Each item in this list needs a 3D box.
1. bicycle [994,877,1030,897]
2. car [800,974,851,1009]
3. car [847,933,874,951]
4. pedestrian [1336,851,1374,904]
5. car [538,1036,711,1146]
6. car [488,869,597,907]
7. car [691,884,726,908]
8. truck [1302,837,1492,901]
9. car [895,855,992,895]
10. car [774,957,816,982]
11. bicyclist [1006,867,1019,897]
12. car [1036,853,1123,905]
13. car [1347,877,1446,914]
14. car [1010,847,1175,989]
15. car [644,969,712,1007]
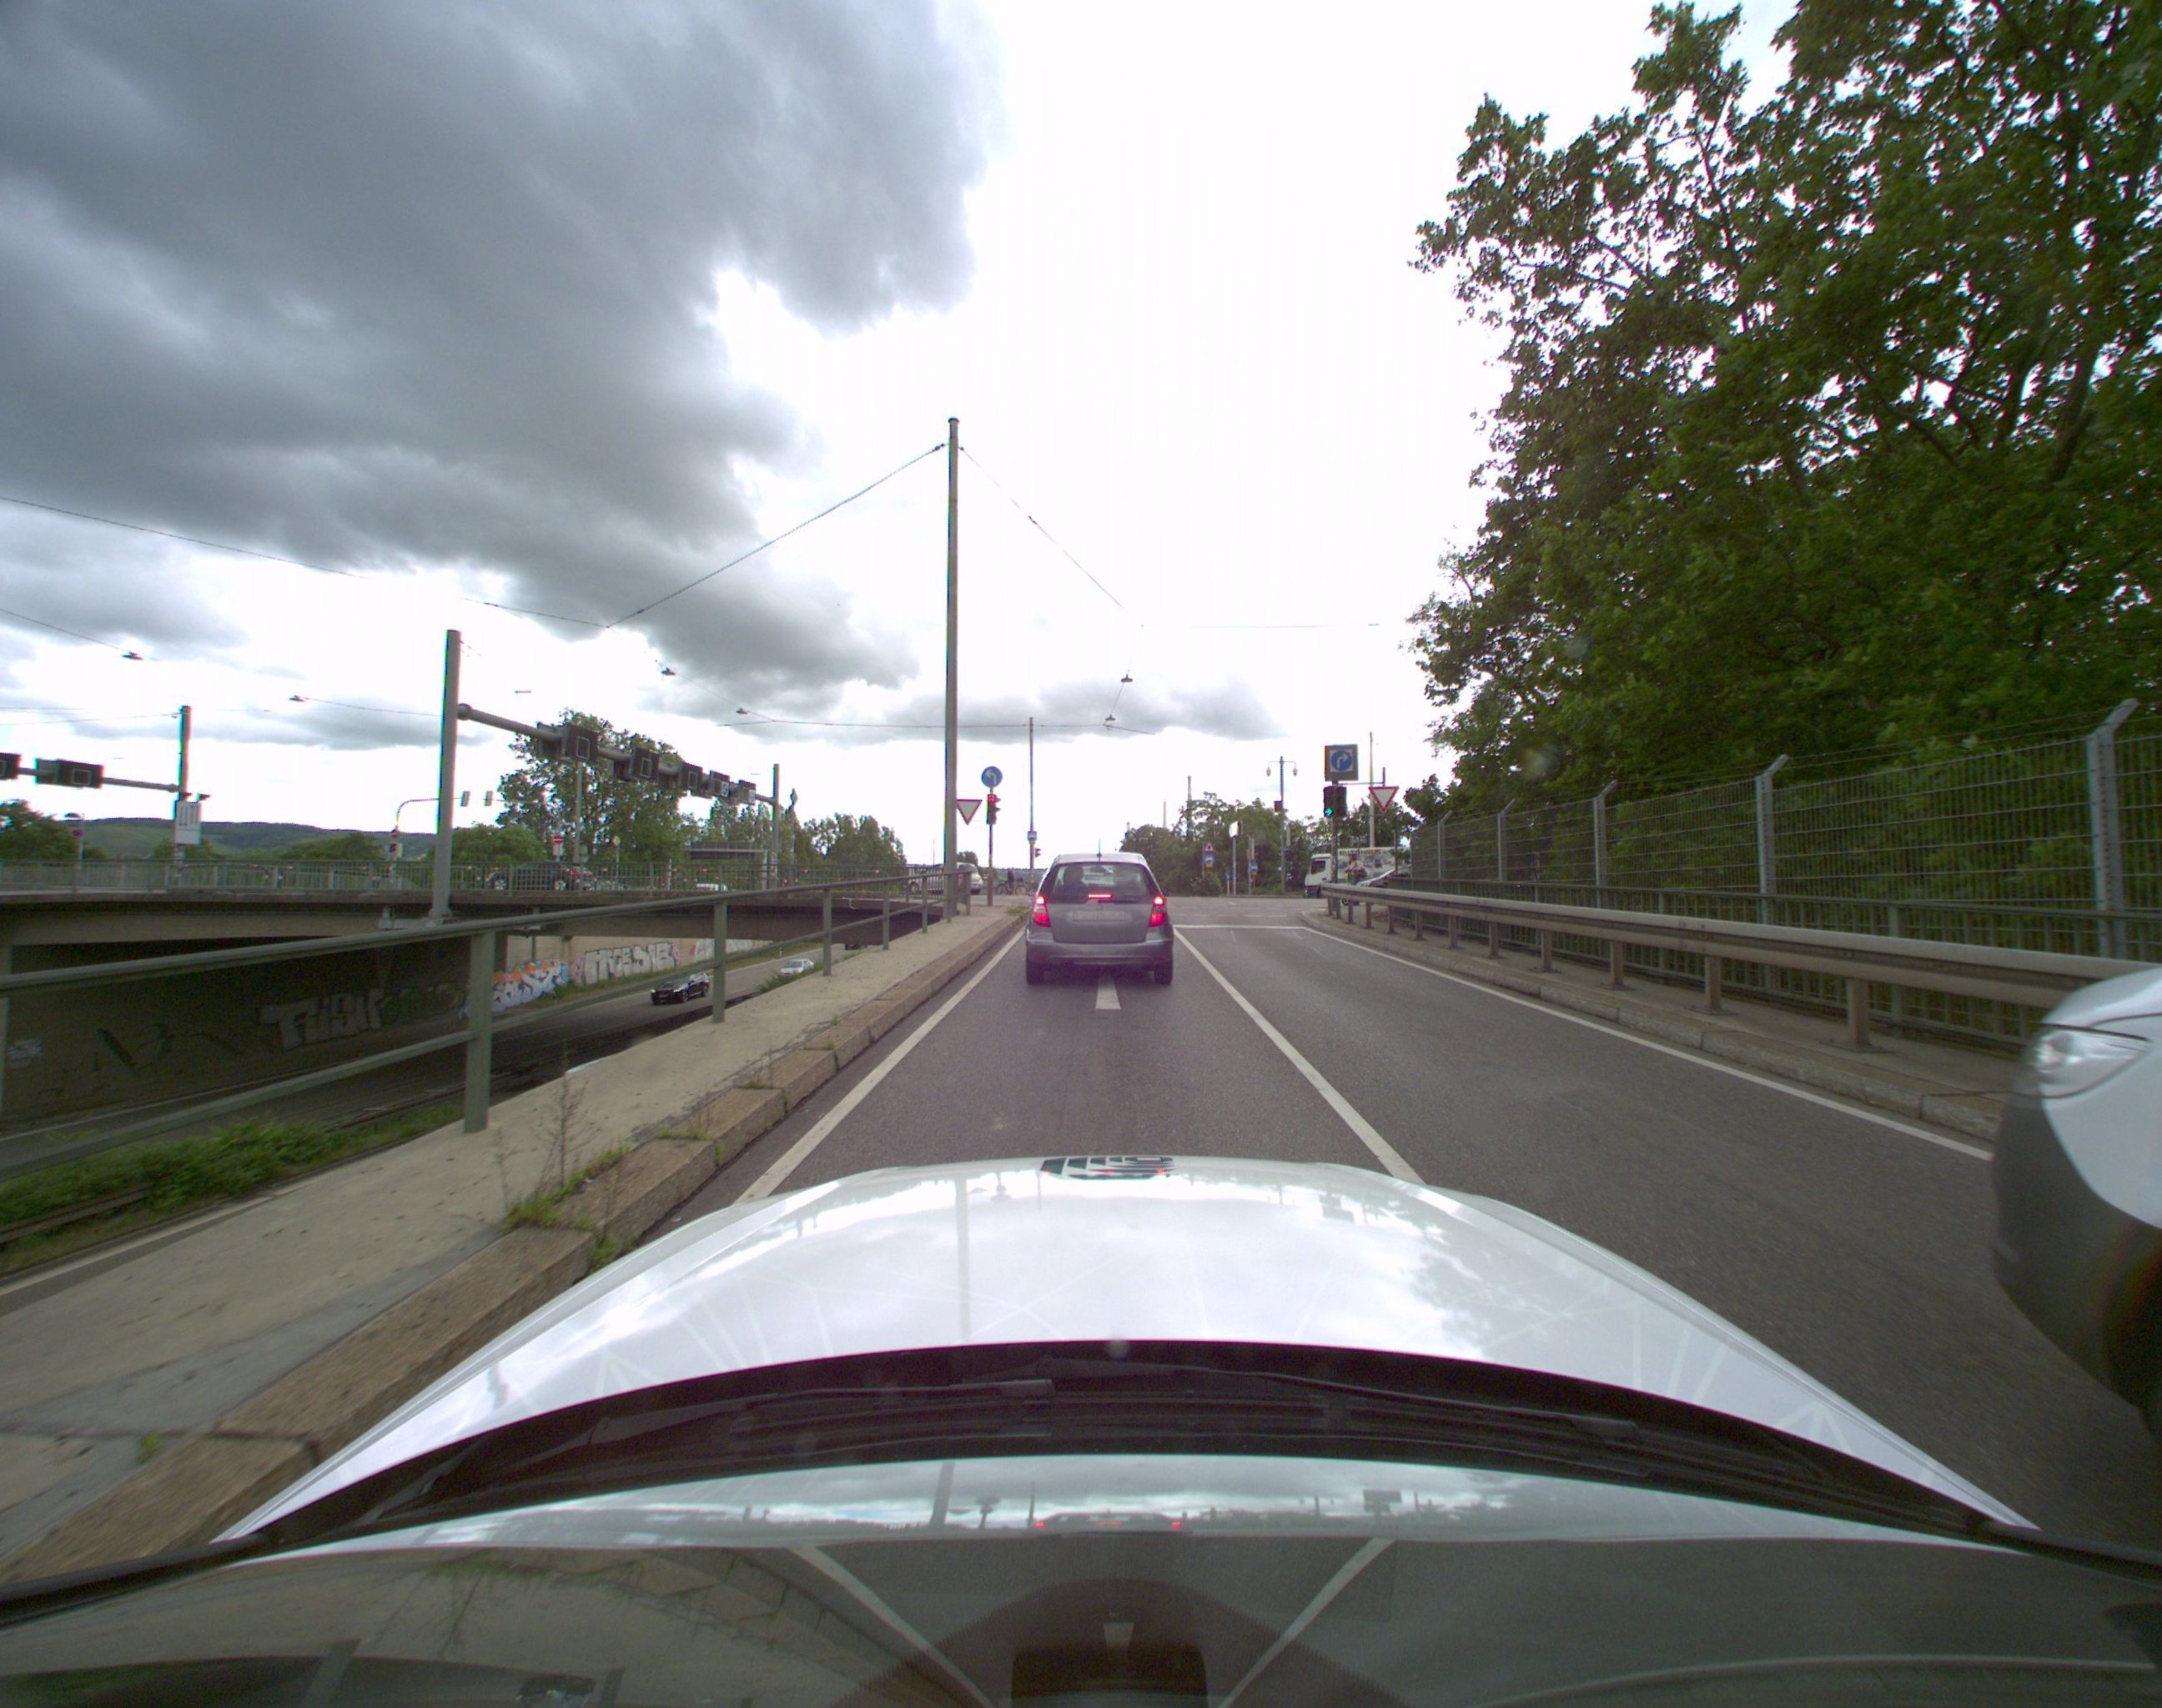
[{"bbox_3d":[-4.009,1.913,47.426,2.032,1.124,0.926,-1,0,-10],"label":"bicycle"},{"bbox_3d":[-14.550,7.803,46.570,1.550,1.553,3.685,-1,-3,3],"label":"car"},{"bbox_3d":[-25.980,10.353,96.113,1.924,1.842,4.410,-1,-3,1],"label":"car"},{"bbox_3d":[8.846,0.777,26.351,0.830,1.678,0.978,-1,-3,-2],"label":"pedestrian"},{"bbox_3d":[-12.560,6.487,22.869,1.943,1.935,4.895,0,-3,1],"label":"car"},{"bbox_3d":[-26.059,1.614,39.531,3.974,1.717,1.937,-1,0,-1],"label":"car"},{"bbox_3d":[-36.531,4.090,79.863,1.850,2.215,3.659,-1,0,-3],"label":"car"},{"bbox_3d":[18.502,0.842,48.106,10.115,3.518,2.816,-1,0,32],"label":"truck"},{"bbox_3d":[-6.215,0.923,36.808,3.949,1.717,1.949,-1,0,29],"label":"car"},{"bbox_3d":[-21.876,8.815,62.454,1.722,1.528,4.087,-1,-3,1],"label":"car"},{"bbox_3d":[-4.000,1.627,47.441,0.653,1.673,0.867,0,0,-9],"label":"bicyclist"},{"bbox_3d":[-0.165,0.831,29.565,1.936,1.717,4.379,-1,0,-18],"label":"car"},{"bbox_3d":[14.800,1.938,38.351,3.969,1.665,1.815,-1,0,4],"label":"car"},{"bbox_3d":[0.256,0.715,11.161,1.849,1.588,4.004,0,0,4],"label":"car"},{"bbox_3d":[-25.010,8.294,50.775,1.909,1.739,4.552,-2,-3,1],"label":"car"}]
